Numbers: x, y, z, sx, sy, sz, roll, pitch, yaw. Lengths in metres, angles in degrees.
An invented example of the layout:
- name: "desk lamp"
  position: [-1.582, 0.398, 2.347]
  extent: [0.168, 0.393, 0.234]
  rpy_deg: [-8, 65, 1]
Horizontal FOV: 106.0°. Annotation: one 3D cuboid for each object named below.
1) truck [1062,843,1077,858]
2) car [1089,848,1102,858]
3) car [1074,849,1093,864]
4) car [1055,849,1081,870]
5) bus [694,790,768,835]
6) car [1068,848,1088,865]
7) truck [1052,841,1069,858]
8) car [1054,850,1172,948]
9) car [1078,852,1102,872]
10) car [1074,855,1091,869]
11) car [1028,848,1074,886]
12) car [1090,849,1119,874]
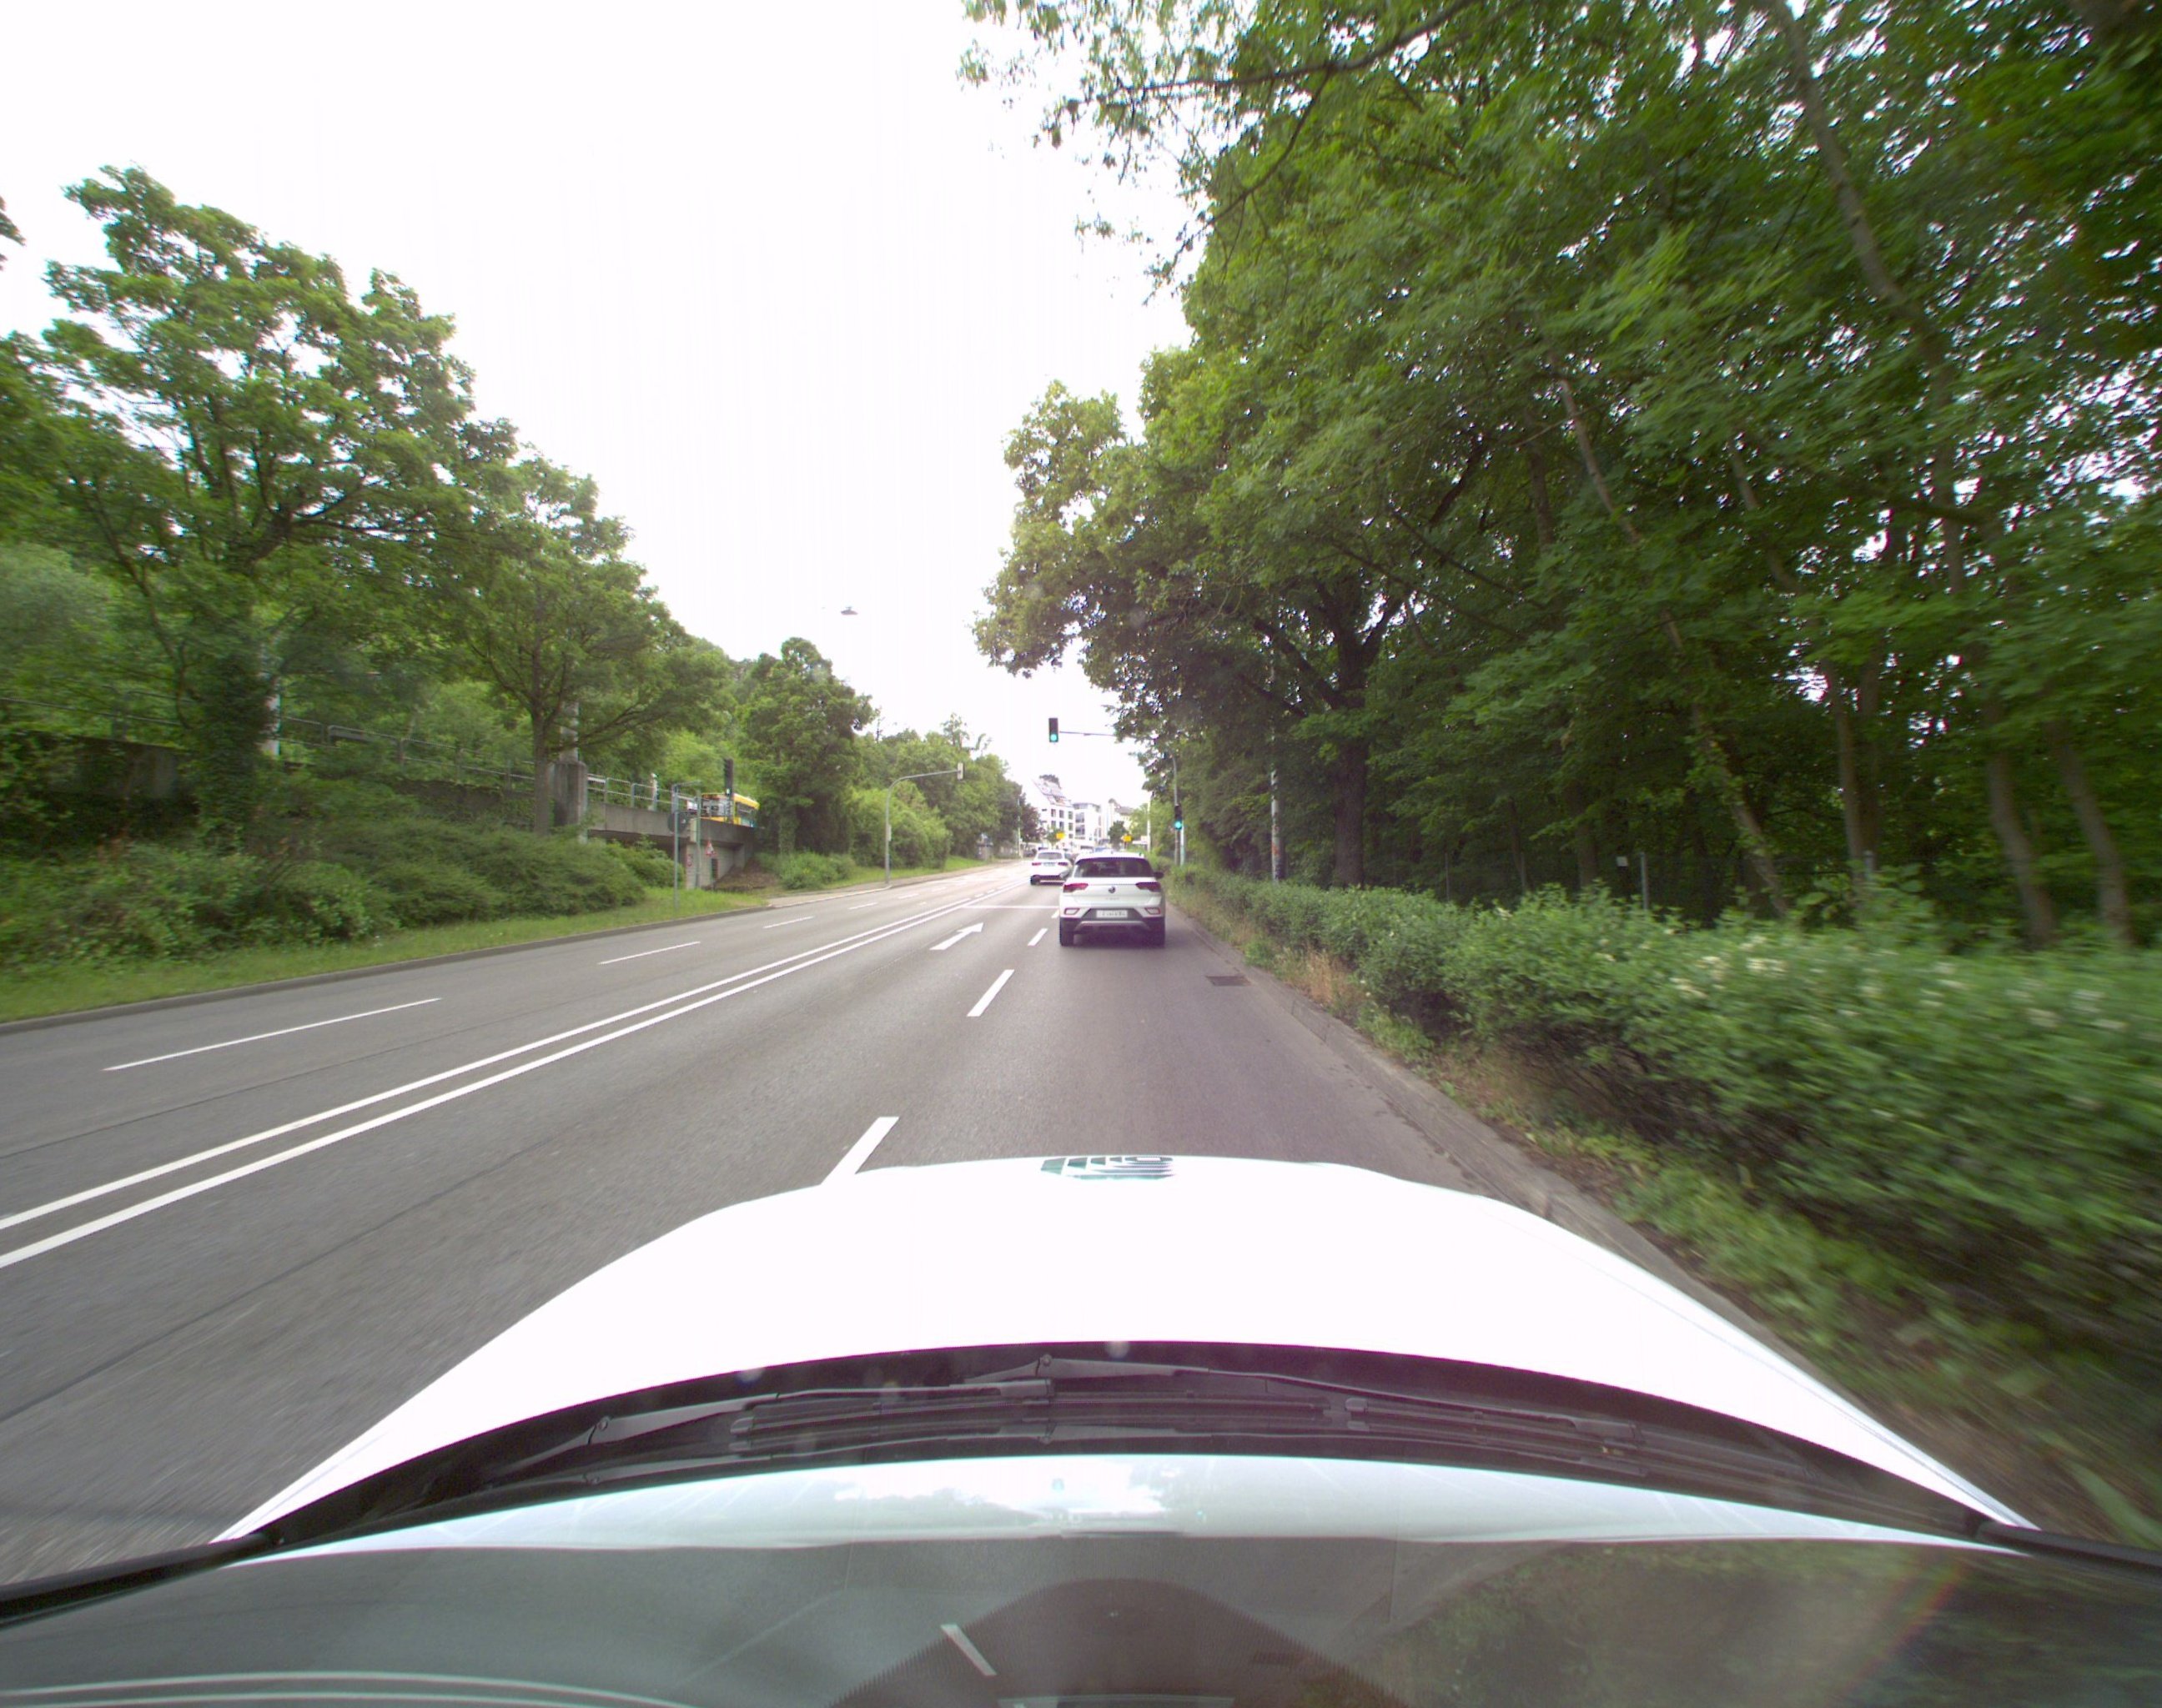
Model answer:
- name: "truck"
  position: [-2.468, -0.751, 179.832]
  extent: [2.281, 3.051, 6.991]
  rpy_deg: [-2, 0, 6]
- name: "car"
  position: [2.222, -0.166, 124.530]
  extent: [1.822, 1.526, 4.001]
  rpy_deg: [-2, 0, 1]
- name: "car"
  position: [0.294, 0.224, 87.448]
  extent: [1.822, 1.526, 4.001]
  rpy_deg: [-2, 0, 1]
- name: "car"
  position: [-0.989, 0.422, 62.965]
  extent: [1.822, 1.497, 4.001]
  rpy_deg: [-2, 0, 1]
- name: "bus"
  position: [-26.276, -3.043, 61.520]
  extent: [2.535, 2.789, 7.932]
  rpy_deg: [-2, -1, -4]
- name: "car"
  position: [-0.285, 0.204, 79.111]
  extent: [1.822, 1.526, 4.001]
  rpy_deg: [-2, 0, 1]
- name: "truck"
  position: [-3.248, -0.715, 129.901]
  extent: [2.354, 2.706, 4.479]
  rpy_deg: [-2, 0, 1]
- name: "car"
  position: [0.560, 0.705, 14.835]
  extent: [1.822, 1.526, 4.001]
  rpy_deg: [-1, 0, 1]
- name: "car"
  position: [0.756, 0.637, 65.130]
  extent: [1.822, 1.526, 4.001]
  rpy_deg: [-2, 0, 1]
- name: "car"
  position: [0.215, 0.886, 95.555]
  extent: [1.822, 1.526, 4.001]
  rpy_deg: [-2, 0, 1]
- name: "car"
  position: [-1.403, 0.588, 39.224]
  extent: [1.911, 1.669, 4.001]
  rpy_deg: [-2, 0, 1]
- name: "car"
  position: [1.568, 0.460, 54.141]
  extent: [1.822, 1.526, 4.001]
  rpy_deg: [-2, 0, 1]
